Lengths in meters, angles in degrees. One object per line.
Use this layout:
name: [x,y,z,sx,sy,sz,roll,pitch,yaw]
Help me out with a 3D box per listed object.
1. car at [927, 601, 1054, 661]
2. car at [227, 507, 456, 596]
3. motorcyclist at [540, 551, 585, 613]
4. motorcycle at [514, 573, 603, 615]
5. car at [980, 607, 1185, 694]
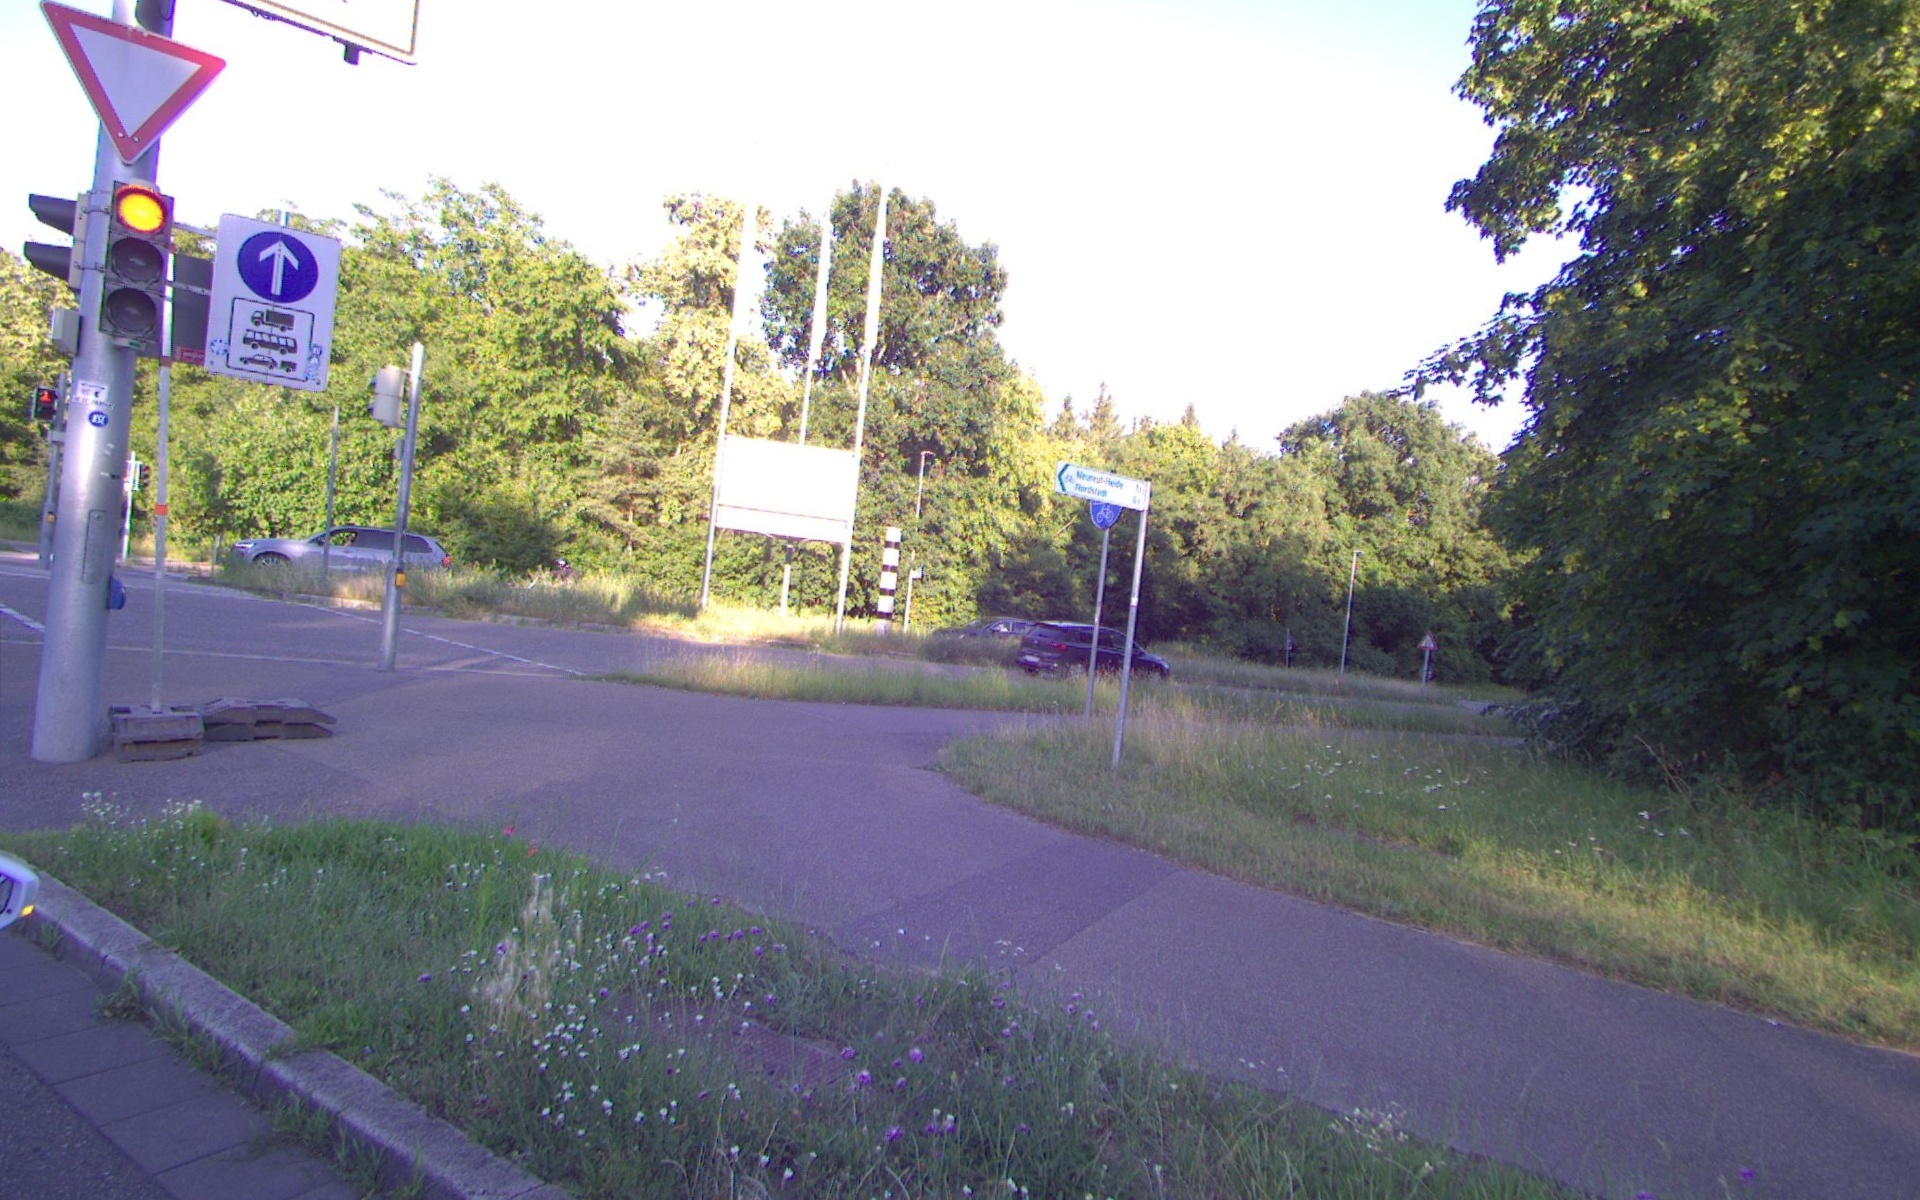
car: [1.027,1.049,33.416,3.840,1.507,1.754,7,-1,-36]
car: [-15.916,-1.207,26.000,4.790,1.618,1.980,7,0,-37]
motorcyclist: [-11.147,-0.501,28.215,0.881,1.614,0.648,6,0,-37]
motorcycle: [-11.235,-0.165,28.187,2.133,0.921,0.655,7,0,-37]
car: [3.008,1.246,24.318,4.632,1.548,1.983,7,-1,-33]
